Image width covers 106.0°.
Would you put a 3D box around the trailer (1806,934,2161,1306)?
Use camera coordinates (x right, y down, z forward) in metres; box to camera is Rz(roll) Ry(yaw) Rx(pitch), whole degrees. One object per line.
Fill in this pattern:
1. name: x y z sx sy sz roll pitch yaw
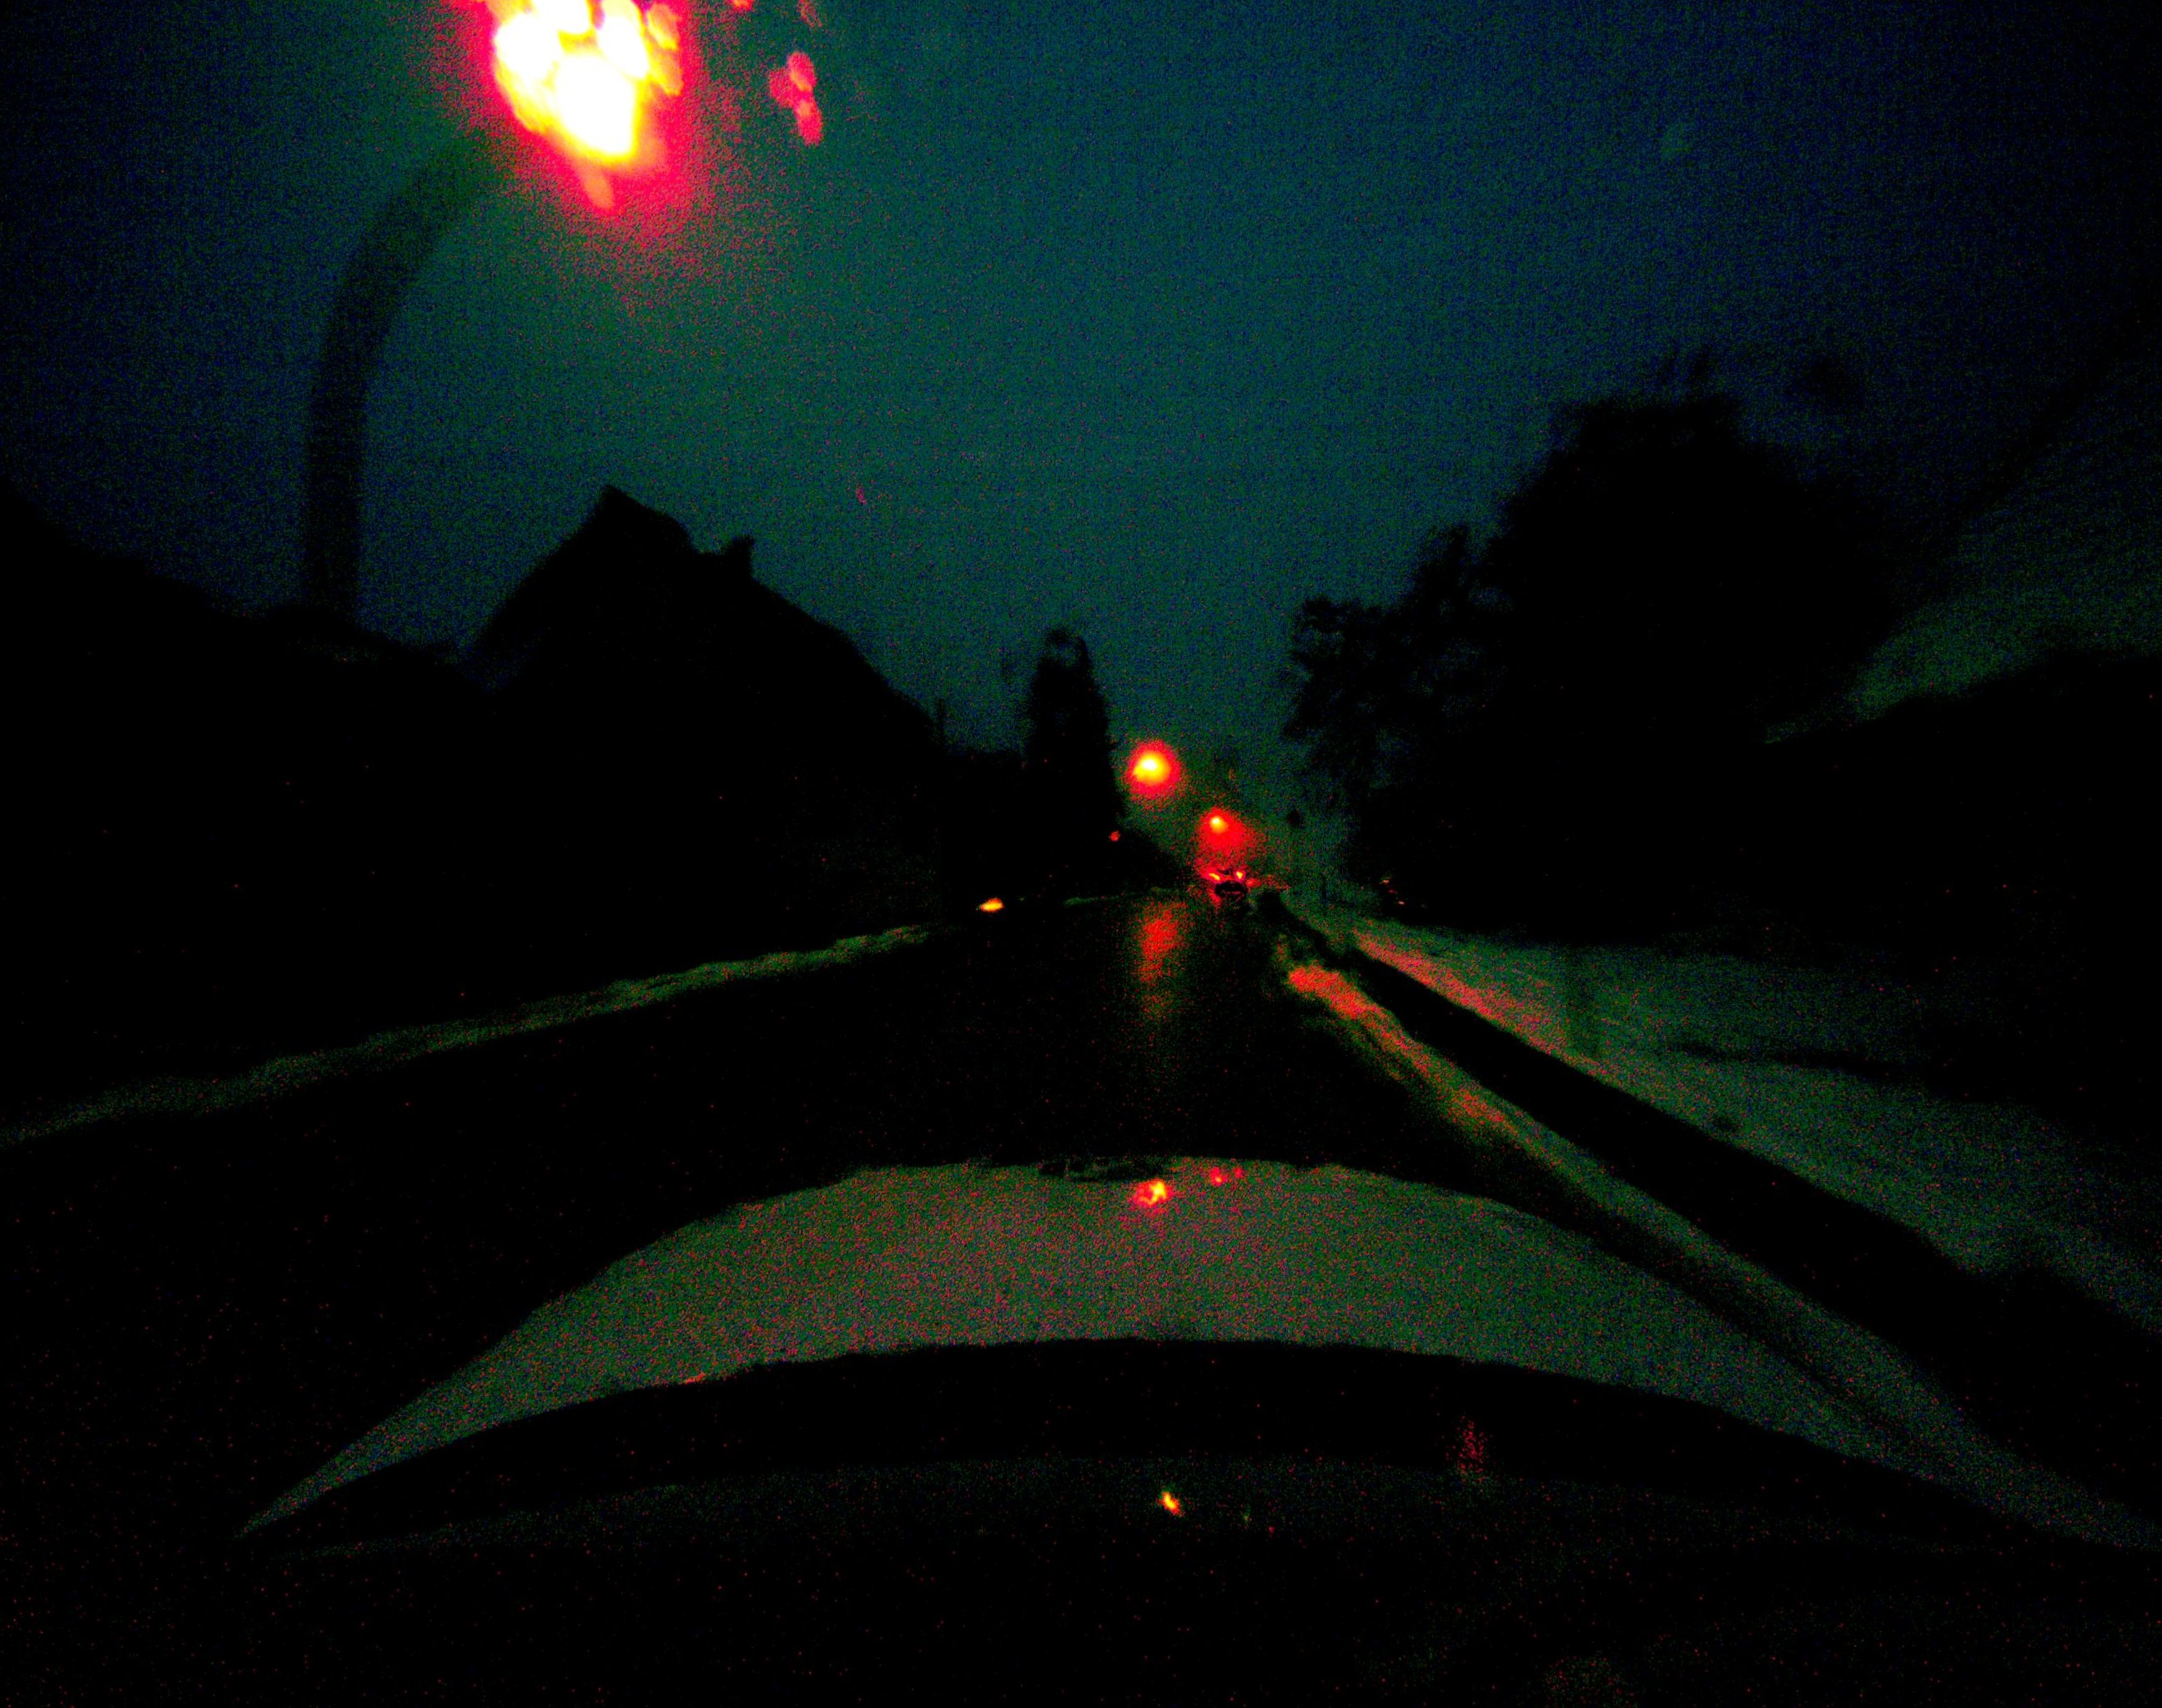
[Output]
1. trailer: 4.318 0.827 1.669 1.549 0.946 3.974 -3 -1 -18

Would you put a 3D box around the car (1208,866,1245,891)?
1. car: 8.765 1.462 48.702 1.980 1.420 4.013 -2 -2 12

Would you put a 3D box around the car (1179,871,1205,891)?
1. car: 10.232 2.514 75.190 1.984 1.566 5.002 -5 -4 5

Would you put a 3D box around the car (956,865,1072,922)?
1. car: -1.744 1.047 23.364 1.864 1.426 5.408 -1 -1 11

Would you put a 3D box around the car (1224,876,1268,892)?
1. car: 19.914 3.653 98.268 4.844 1.485 2.134 -5 -5 22

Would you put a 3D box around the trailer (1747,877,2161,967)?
1. trailer: 12.160 0.882 11.382 3.852 1.091 2.248 0 -1 4

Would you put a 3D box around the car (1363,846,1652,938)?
1. car: 7.808 0.663 15.389 4.421 1.382 2.042 3 0 11
